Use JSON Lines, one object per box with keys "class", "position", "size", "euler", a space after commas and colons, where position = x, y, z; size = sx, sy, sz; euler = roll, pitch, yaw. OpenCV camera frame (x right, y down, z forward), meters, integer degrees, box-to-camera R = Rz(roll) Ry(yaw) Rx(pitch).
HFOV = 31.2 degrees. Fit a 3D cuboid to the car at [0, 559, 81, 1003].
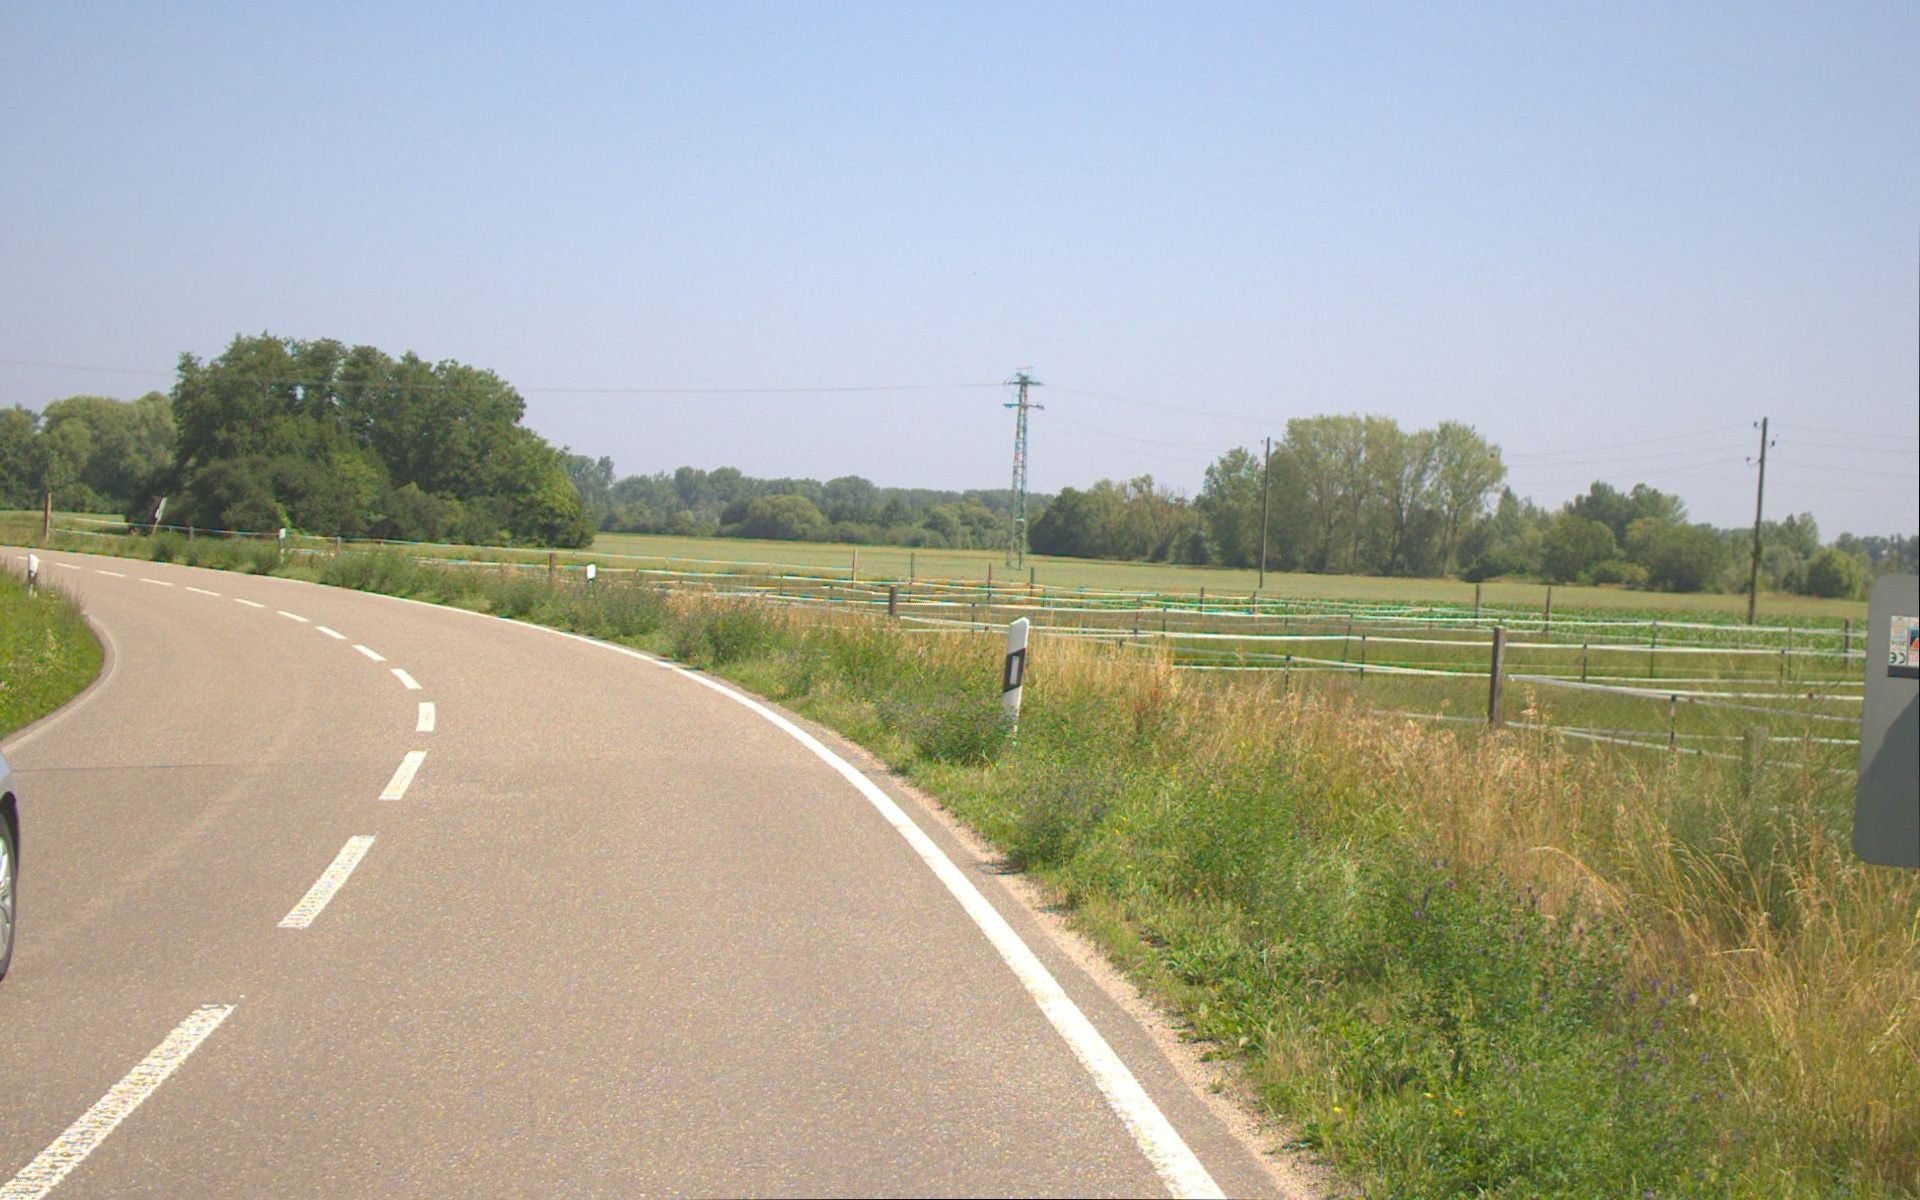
{"class": "car", "position": [-3.963, 0.622, 10.217], "size": [1.783, 1.422, 4.060], "euler": [-1, 1, -2]}
